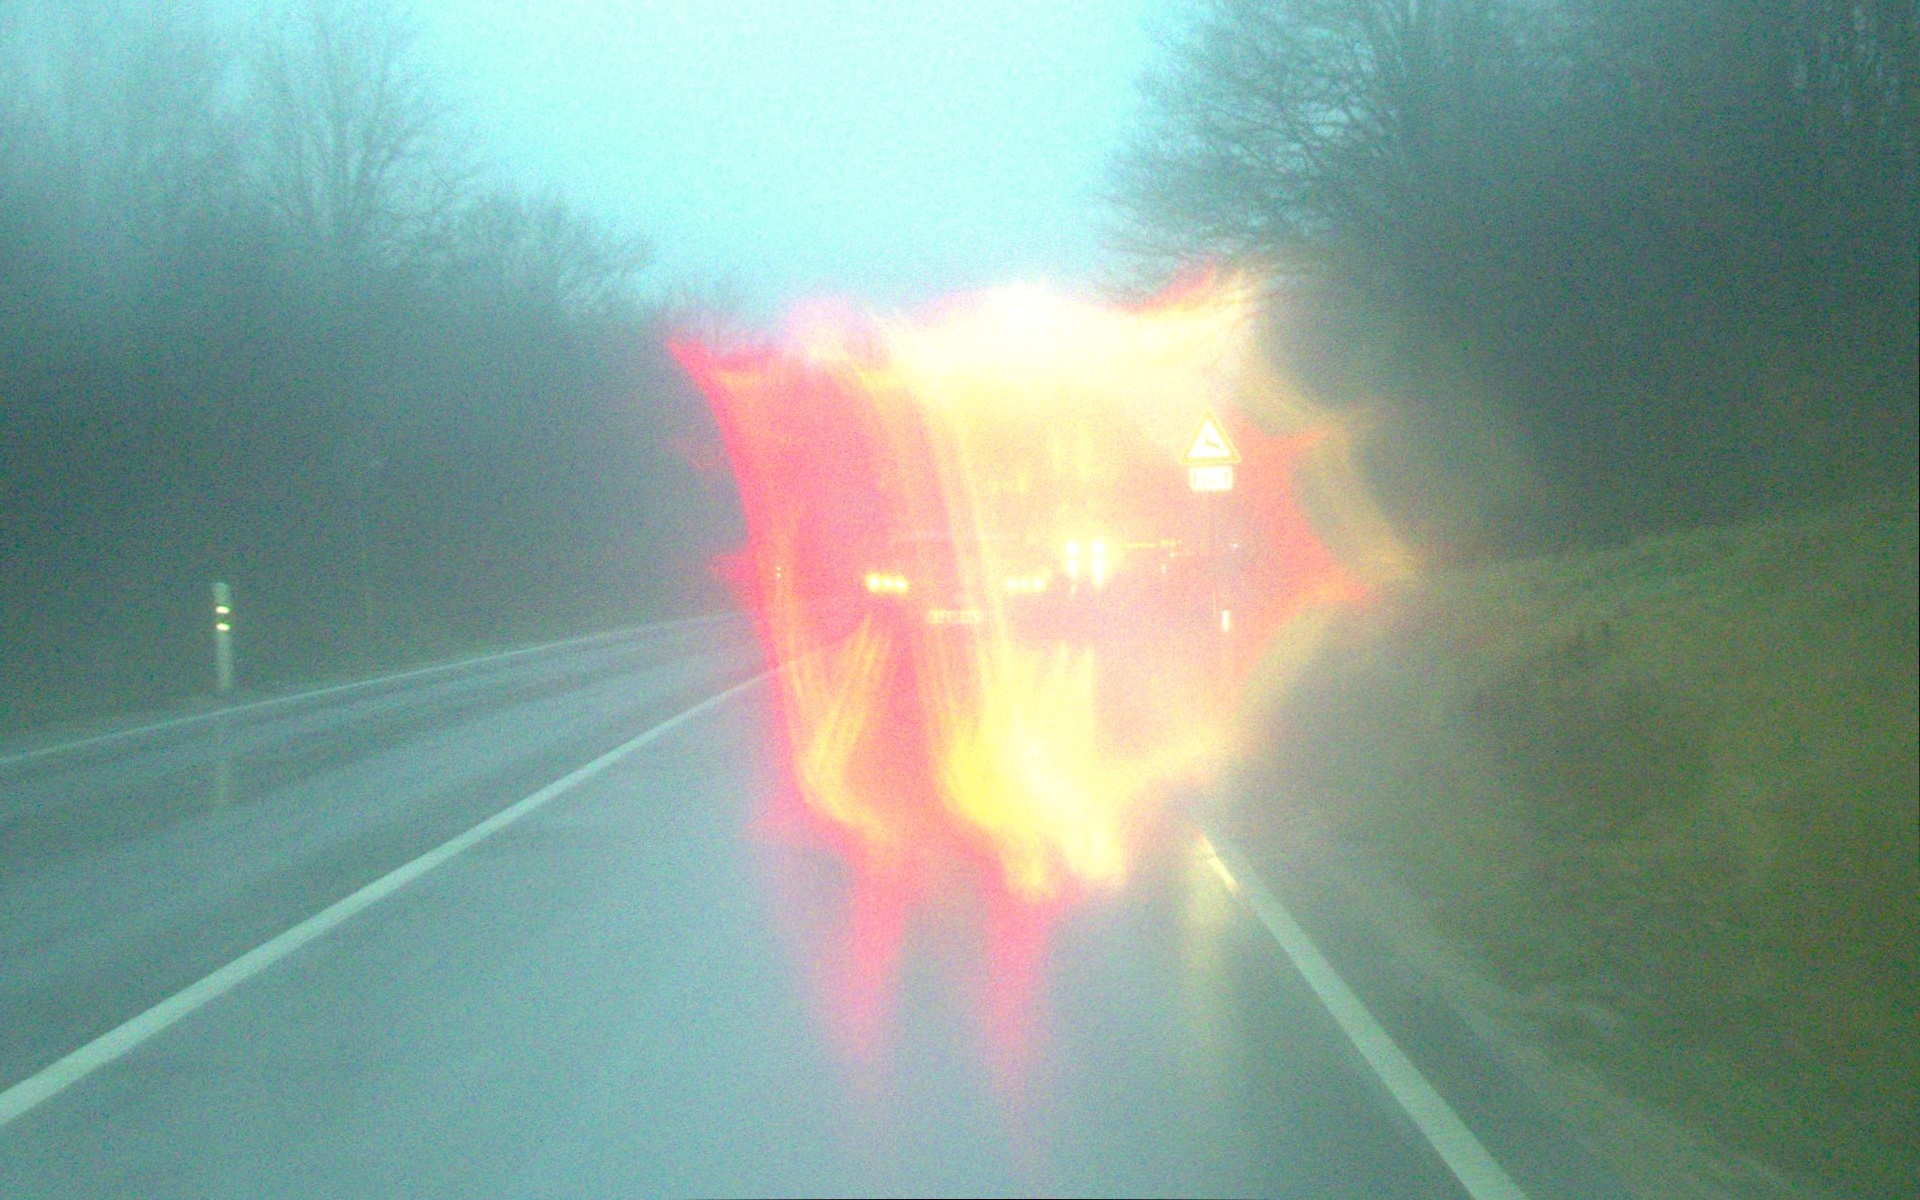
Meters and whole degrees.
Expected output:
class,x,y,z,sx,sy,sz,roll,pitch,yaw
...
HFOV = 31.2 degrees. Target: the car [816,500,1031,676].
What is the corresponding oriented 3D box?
class,x,y,z,sx,sy,sz,roll,pitch,yaw
car,-0.253,-0.132,29.566,1.679,1.385,4.098,-1,1,2
